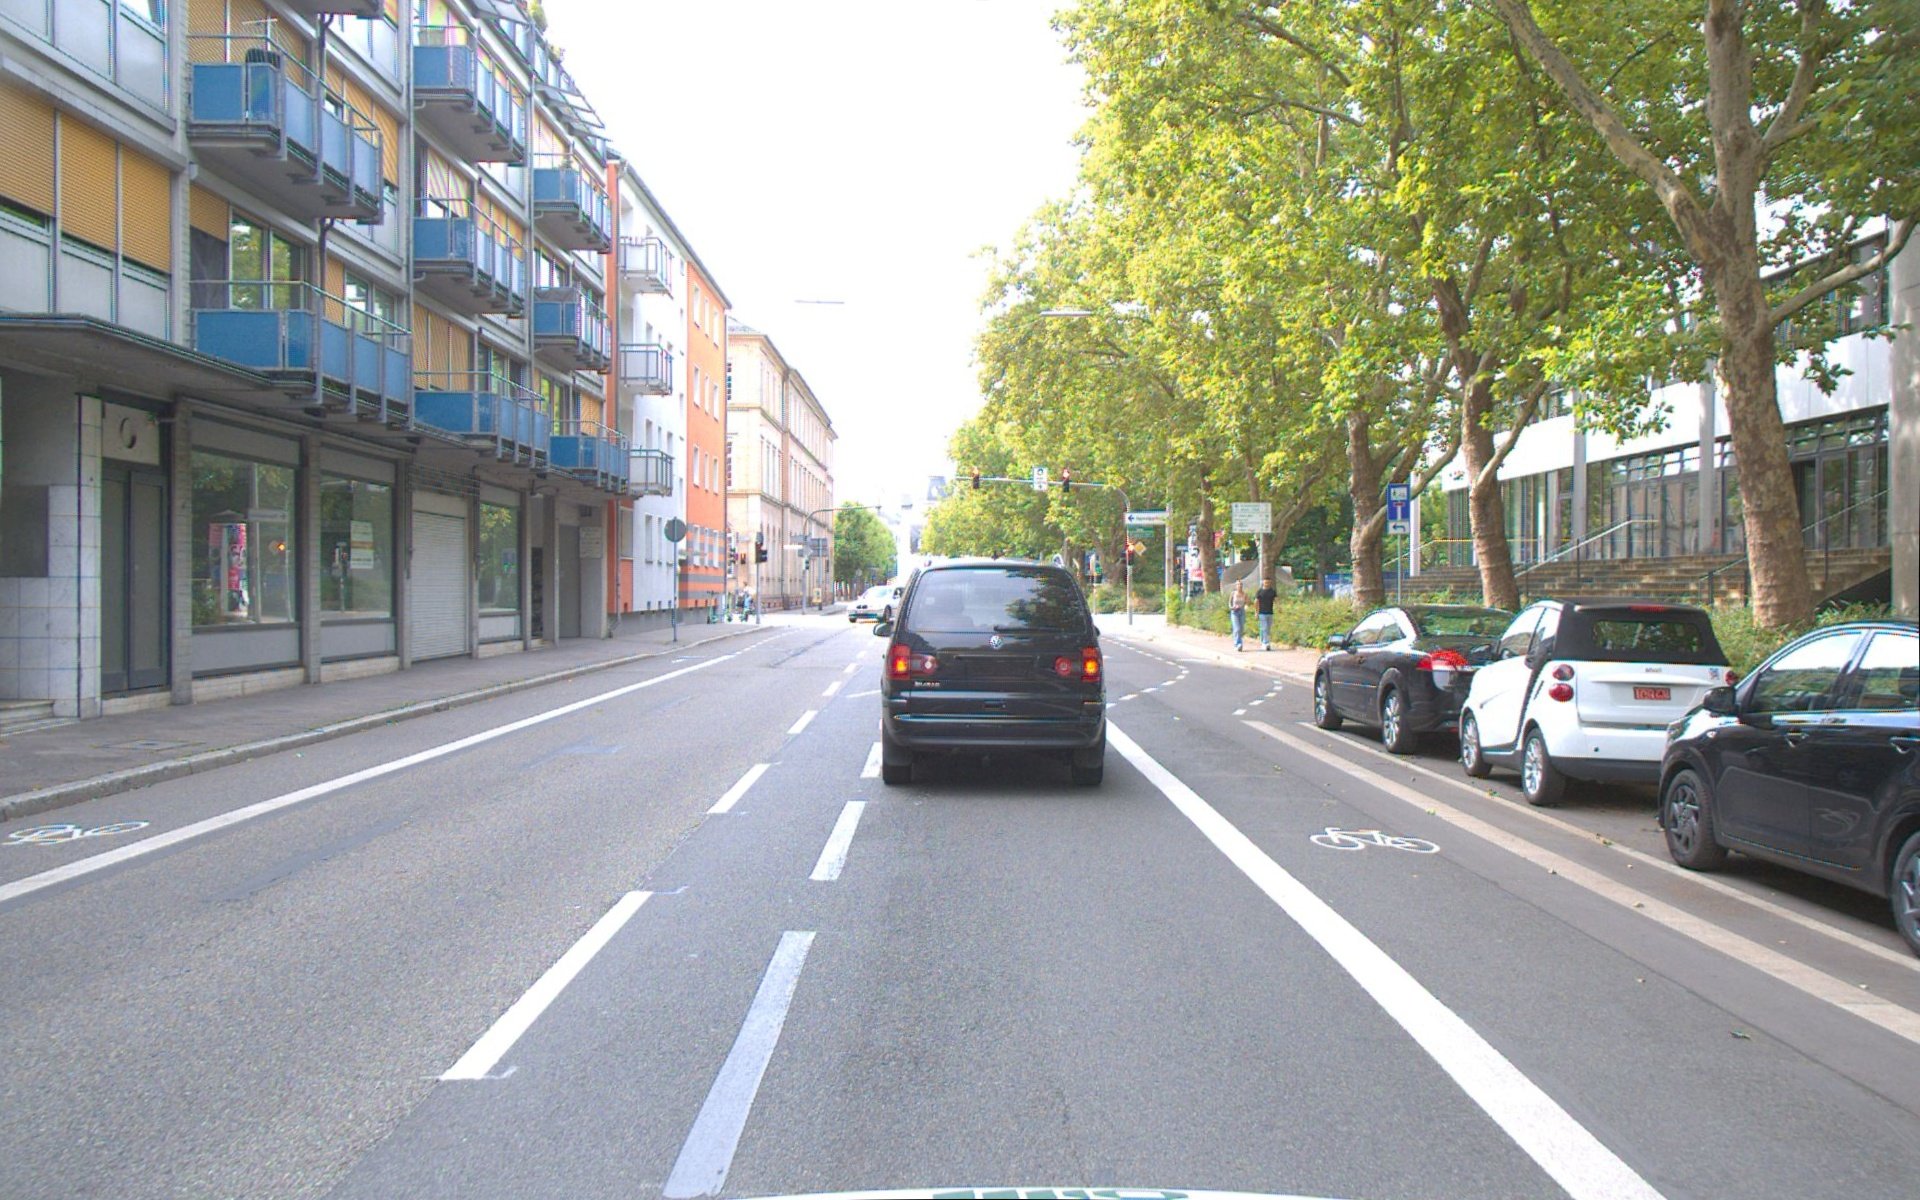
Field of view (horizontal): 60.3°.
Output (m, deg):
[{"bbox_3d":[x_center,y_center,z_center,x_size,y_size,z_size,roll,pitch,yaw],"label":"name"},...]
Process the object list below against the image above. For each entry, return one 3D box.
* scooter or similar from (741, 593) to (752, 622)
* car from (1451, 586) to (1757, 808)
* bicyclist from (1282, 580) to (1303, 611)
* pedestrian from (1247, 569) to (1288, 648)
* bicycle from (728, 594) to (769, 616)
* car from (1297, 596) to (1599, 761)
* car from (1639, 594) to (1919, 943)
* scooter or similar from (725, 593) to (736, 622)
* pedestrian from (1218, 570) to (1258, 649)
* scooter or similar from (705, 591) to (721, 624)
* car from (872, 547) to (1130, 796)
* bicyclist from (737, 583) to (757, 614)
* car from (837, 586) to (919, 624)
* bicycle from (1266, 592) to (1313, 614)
[{"bbox_3d":[-8.661,0.315,67.153,0.370,1.164,1.141,0,-1,-4],"label":"scooter or similar"},{"bbox_3d":[5.070,0.693,13.331,1.504,1.570,2.600,2,0,2],"label":"car"},{"bbox_3d":[16.584,-0.217,82.599,0.896,1.519,0.626,0,0,-5],"label":"bicyclist"},{"bbox_3d":[7.295,0.189,39.281,0.700,1.831,1.033,-2,0,-2],"label":"pedestrian"},{"bbox_3d":[-10.180,0.241,79.512,1.891,1.046,0.581,1,0,-14],"label":"bicycle"},{"bbox_3d":[4.950,0.723,17.458,1.664,1.450,4.420,2,0,-3],"label":"car"},{"bbox_3d":[4.991,0.758,8.453,1.497,1.528,3.660,2,0,0],"label":"car"},{"bbox_3d":[-9.247,0.317,66.714,0.370,1.167,1.141,0,-1,-4],"label":"scooter or similar"},{"bbox_3d":[6.585,0.225,39.247,0.696,1.814,1.033,-2,0,-2],"label":"pedestrian"},{"bbox_3d":[-9.035,0.282,60.501,0.370,1.204,1.389,0,-1,-1],"label":"scooter or similar"},{"bbox_3d":[0.251,0.492,14.126,1.836,1.775,4.572,0,1,-1],"label":"car"},{"bbox_3d":[-10.230,-0.067,79.495,0.898,1.491,0.568,1,0,-13],"label":"bicyclist"},{"bbox_3d":[-3.312,0.197,67.754,1.722,1.452,4.098,-1,1,23],"label":"car"},{"bbox_3d":[16.459,0.138,82.595,2.190,1.113,0.627,0,0,-5],"label":"bicycle"}]
